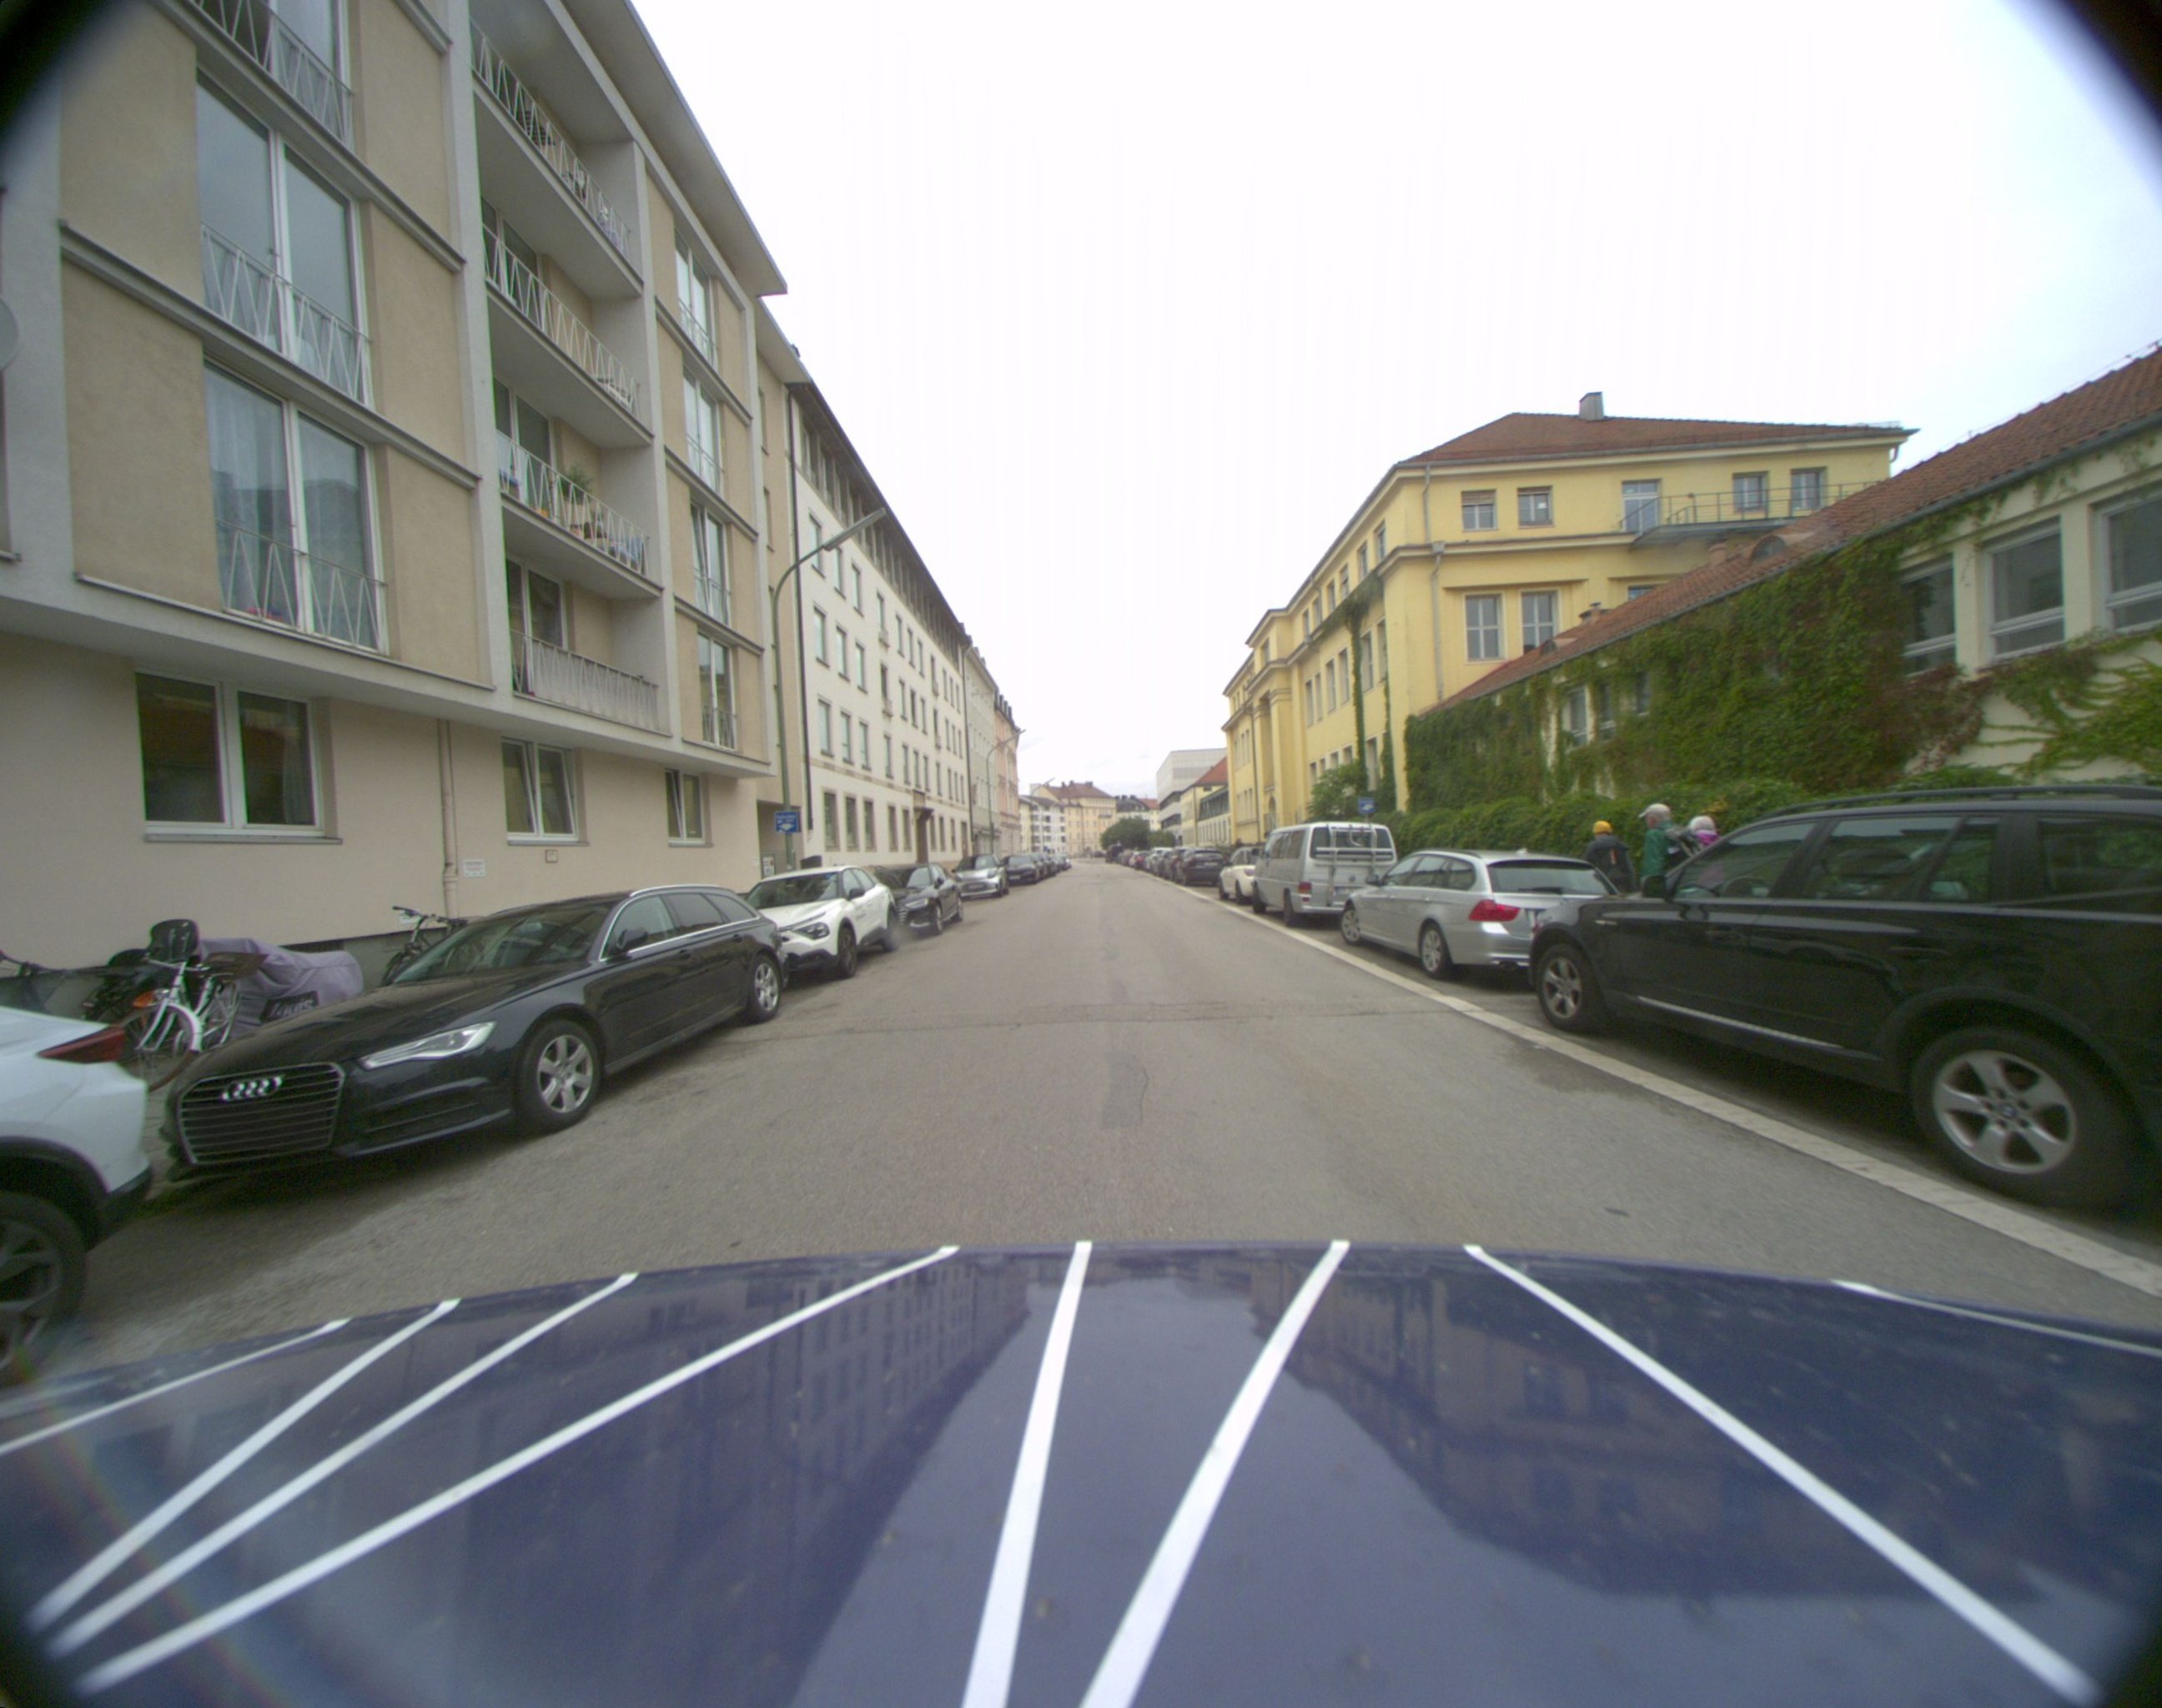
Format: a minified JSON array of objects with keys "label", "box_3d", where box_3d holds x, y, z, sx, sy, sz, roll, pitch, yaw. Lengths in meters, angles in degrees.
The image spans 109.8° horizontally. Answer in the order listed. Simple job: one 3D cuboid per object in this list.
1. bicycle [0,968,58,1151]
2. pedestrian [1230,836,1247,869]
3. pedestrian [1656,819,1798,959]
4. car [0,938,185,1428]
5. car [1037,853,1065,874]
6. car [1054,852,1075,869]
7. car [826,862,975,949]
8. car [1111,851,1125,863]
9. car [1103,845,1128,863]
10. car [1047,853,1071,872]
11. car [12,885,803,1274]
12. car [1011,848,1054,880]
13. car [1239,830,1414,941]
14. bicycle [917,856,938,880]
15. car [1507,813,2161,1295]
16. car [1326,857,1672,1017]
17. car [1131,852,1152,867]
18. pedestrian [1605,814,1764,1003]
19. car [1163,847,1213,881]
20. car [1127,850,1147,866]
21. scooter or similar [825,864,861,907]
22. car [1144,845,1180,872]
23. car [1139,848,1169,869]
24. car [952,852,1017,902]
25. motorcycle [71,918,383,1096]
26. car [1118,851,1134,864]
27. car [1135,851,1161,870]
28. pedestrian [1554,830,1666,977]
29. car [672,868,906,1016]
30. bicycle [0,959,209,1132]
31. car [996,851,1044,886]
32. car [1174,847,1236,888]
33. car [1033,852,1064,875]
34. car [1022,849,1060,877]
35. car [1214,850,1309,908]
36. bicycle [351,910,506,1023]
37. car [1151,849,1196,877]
[{"label":"bicycle","box_3d":[-7.533,1.422,4.740,0.448,1.195,1.370,1,2,-2]},{"label":"pedestrian","box_3d":[9.003,-0.101,43.387,0.776,1.814,0.782,-2,1,5]},{"label":"pedestrian","box_3d":[7.348,0.381,8.693,0.845,1.486,0.872,-2,1,2]},{"label":"car","box_3d":[-4.278,1.168,0.724,1.781,1.514,4.302,-7,0,-5]},{"label":"car","box_3d":[-2.373,0.733,60.880,1.768,1.531,4.000,-5,0,2]},{"label":"car","box_3d":[-1.805,0.678,83.231,2.001,1.563,4.491,-5,0,1]},{"label":"car","box_3d":[-3.557,0.951,15.918,1.831,1.373,4.491,-5,0,2]},{"label":"car","box_3d":[4.976,0.348,102.888,1.673,1.509,3.947,-2,0,1]},{"label":"car","box_3d":[5.132,-0.011,114.419,2.848,2.537,6.889,-2,0,-5]},{"label":"car","box_3d":[-1.923,0.719,67.037,1.724,1.457,4.193,-5,0,3]},{"label":"car","box_3d":[-4.064,1.175,5.959,1.776,1.421,4.693,-7,0,1]},{"label":"car","box_3d":[-2.633,0.528,42.401,1.831,1.572,4.491,-4,0,2]},{"label":"car","box_3d":[4.564,0.517,14.995,1.897,1.788,4.881,2,0,1]},{"label":"bicycle","box_3d":[-7.167,0.654,35.516,0.599,1.073,2.040,0,0,0]},{"label":"car","box_3d":[4.446,0.662,4.150,1.706,1.597,4.490,1,0,0]},{"label":"car","box_3d":[4.633,0.789,9.357,1.808,1.370,4.490,2,1,1]},{"label":"car","box_3d":[5.718,0.488,72.016,1.816,1.390,4.020,0,0,1]},{"label":"pedestrian","box_3d":[5.975,0.516,7.578,0.845,1.745,0.872,-2,1,2]},{"label":"car","box_3d":[4.921,0.437,35.504,1.774,1.494,4.273,0,0,0]},{"label":"car","box_3d":[5.668,0.378,77.333,1.773,1.545,4.210,0,0,1]},{"label":"scooter or similar","box_3d":[-7.534,0.985,24.087,0.731,1.267,1.095,-2,1,1]},{"label":"car","box_3d":[5.194,0.284,49.130,1.786,1.631,4.299,1,0,-1]},{"label":"car","box_3d":[5.147,0.298,53.865,1.611,1.438,3.917,1,0,-1]},{"label":"car","box_3d":[-3.375,0.780,27.167,1.618,1.508,3.380,-7,0,2]},{"label":"motorcycle","box_3d":[-7.994,1.354,7.298,0.637,1.264,2.041,-1,1,0]},{"label":"car","box_3d":[5.375,0.399,91.123,1.673,1.509,3.947,-2,0,1]},{"label":"car","box_3d":[5.204,0.454,59.197,1.738,1.431,3.779,0,0,1]},{"label":"pedestrian","box_3d":[6.306,0.565,9.105,0.684,1.643,0.872,-2,1,0]},{"label":"car","box_3d":[-3.957,1.092,11.126,1.706,1.460,4.119,-7,1,-1]},{"label":"bicycle","box_3d":[-7.696,1.444,5.820,1.342,1.195,0.393,0,2,-13]},{"label":"car","box_3d":[-2.884,0.661,36.983,1.878,1.439,4.700,-4,0,0]},{"label":"car","box_3d":[4.855,0.488,30.282,1.721,1.472,4.219,1,0,0]},{"label":"car","box_3d":[-2.209,0.606,52.644,1.745,1.422,4.181,-4,0,1]},{"label":"car","box_3d":[-2.454,0.524,47.427,1.831,1.572,4.491,-4,0,3]},{"label":"car","box_3d":[4.670,0.612,20.167,1.671,1.401,3.559,0,0,0]},{"label":"bicycle","box_3d":[-8.076,1.349,9.504,0.515,1.150,1.600,-1,1,0]},{"label":"car","box_3d":[4.913,0.473,41.068,1.778,1.400,4.600,1,0,-1]}]
